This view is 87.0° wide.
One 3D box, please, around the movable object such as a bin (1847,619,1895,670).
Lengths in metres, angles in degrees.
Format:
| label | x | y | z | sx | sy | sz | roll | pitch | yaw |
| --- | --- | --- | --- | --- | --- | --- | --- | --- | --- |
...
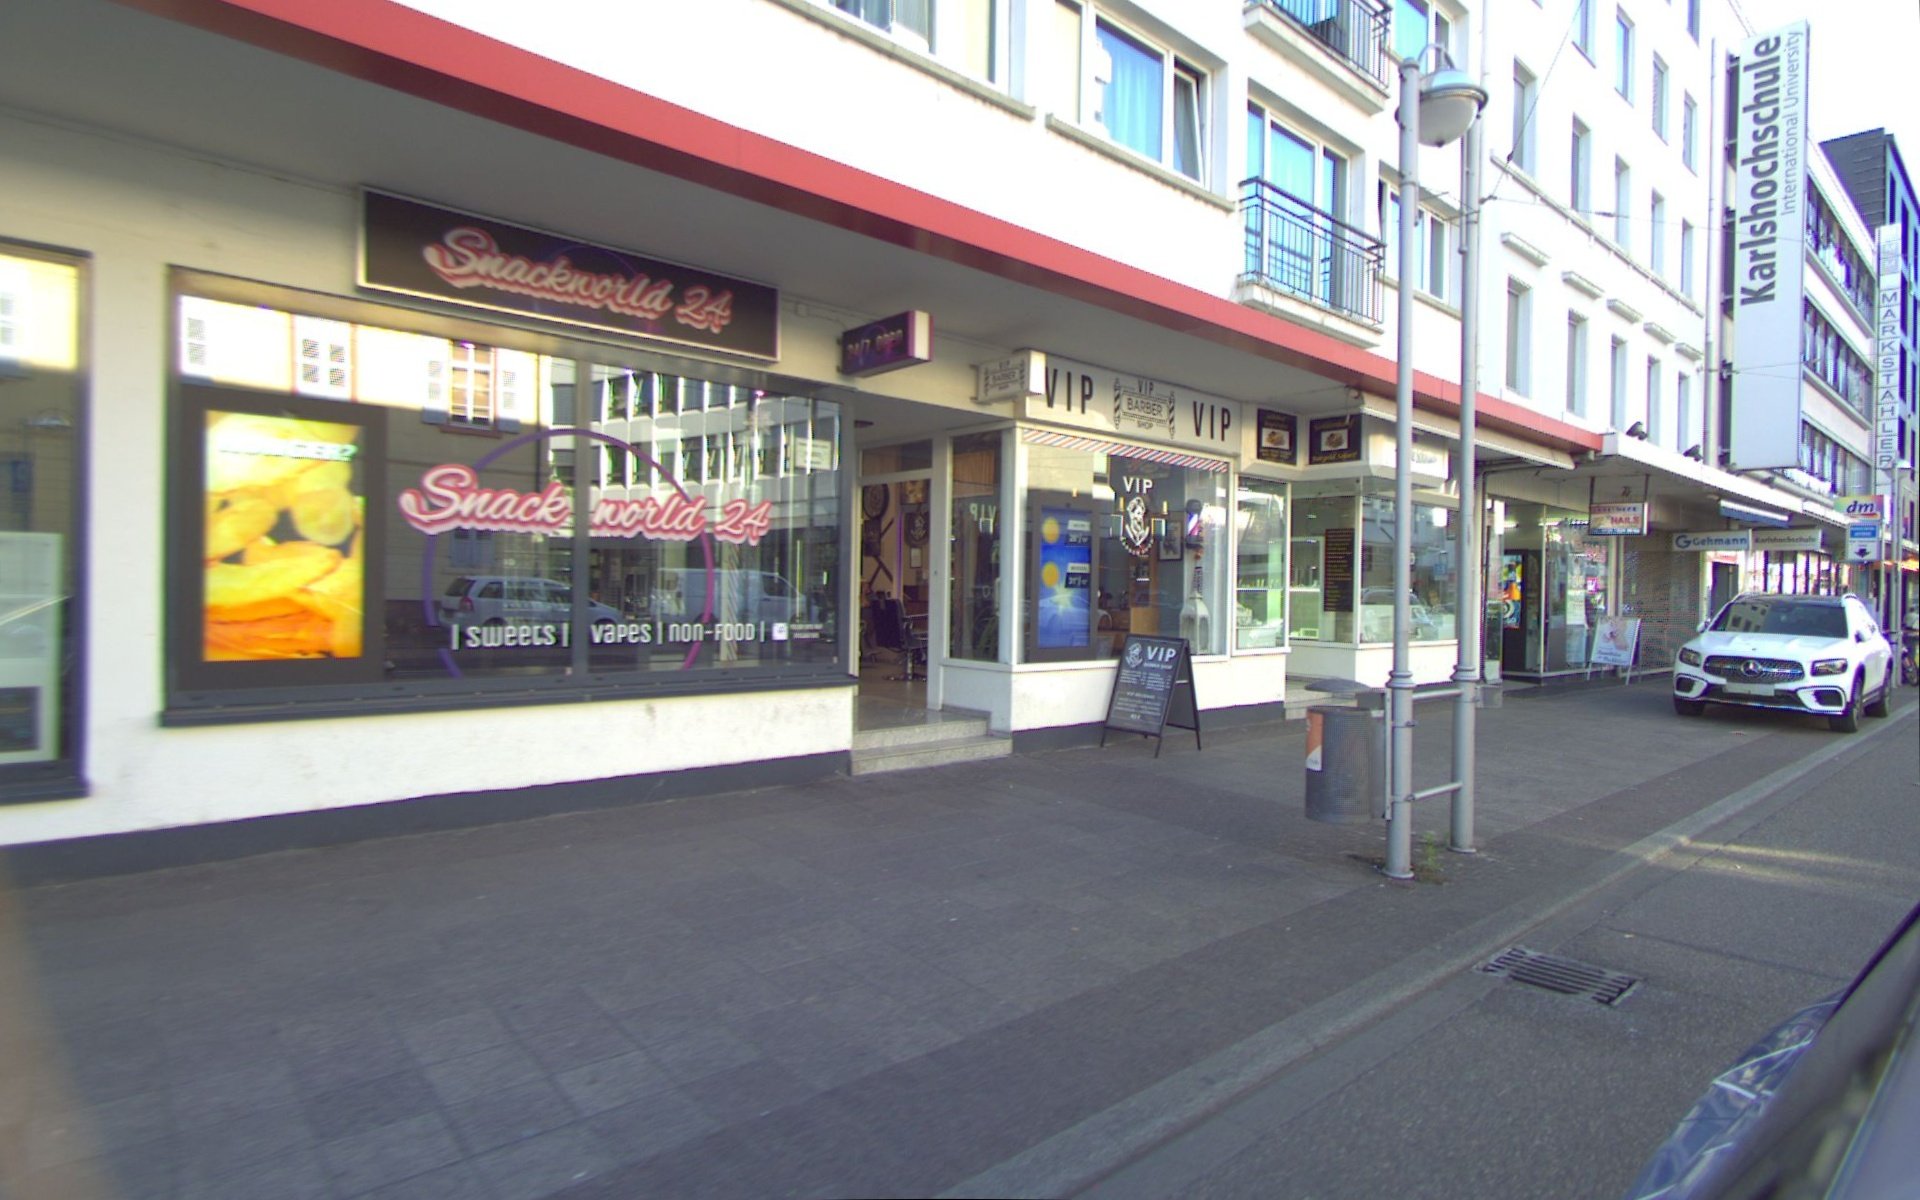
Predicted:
| label | x | y | z | sx | sy | sz | roll | pitch | yaw |
| --- | --- | --- | --- | --- | --- | --- | --- | --- | --- |
| movable object such as a bin | 19.447 | 0.932 | 21.607 | 0.625 | 1.027 | 0.659 | 0 | 1 | -38 |

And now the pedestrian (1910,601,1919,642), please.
| label | x | y | z | sx | sy | sz | roll | pitch | yaw |
| --- | --- | --- | --- | --- | --- | --- | --- | --- | --- |
| pedestrian | 38.562 | 0.872 | 40.557 | 0.588 | 1.605 | 0.582 | 0 | 3 | -43 |

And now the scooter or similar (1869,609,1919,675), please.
| label | x | y | z | sx | sy | sz | roll | pitch | yaw |
| --- | --- | --- | --- | --- | --- | --- | --- | --- | --- |
| scooter or similar | 18.818 | 0.831 | 20.150 | 0.314 | 1.247 | 0.994 | 0 | 2 | -42 |

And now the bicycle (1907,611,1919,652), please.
| label | x | y | z | sx | sy | sz | roll | pitch | yaw |
| --- | --- | --- | --- | --- | --- | --- | --- | --- | --- |
| bicycle | 28.723 | 0.944 | 29.340 | 0.657 | 1.174 | 1.790 | 1 | 1 | -41 |

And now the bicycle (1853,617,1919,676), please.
| label | x | y | z | sx | sy | sz | roll | pitch | yaw |
| --- | --- | --- | --- | --- | --- | --- | --- | --- | --- |
| bicycle | 18.471 | 0.910 | 20.029 | 0.314 | 1.093 | 1.133 | 0 | 2 | -42 |

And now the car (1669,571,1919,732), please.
| label | x | y | z | sx | sy | sz | roll | pitch | yaw |
| --- | --- | --- | --- | --- | --- | --- | --- | --- | --- |
| car | 11.411 | 0.543 | 13.668 | 5.103 | 1.745 | 1.853 | 0 | 3 | -42 |

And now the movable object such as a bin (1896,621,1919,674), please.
| label | x | y | z | sx | sy | sz | roll | pitch | yaw |
| --- | --- | --- | --- | --- | --- | --- | --- | --- | --- |
| movable object such as a bin | 19.362 | 0.953 | 20.470 | 0.659 | 1.027 | 0.523 | 0 | 1 | -38 |

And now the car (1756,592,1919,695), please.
| label | x | y | z | sx | sy | sz | roll | pitch | yaw |
| --- | --- | --- | --- | --- | --- | --- | --- | --- | --- |
| car | 15.341 | 0.660 | 17.626 | 4.000 | 1.547 | 1.617 | 0 | 2 | -42 |

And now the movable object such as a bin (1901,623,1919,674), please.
| label | x | y | z | sx | sy | sz | roll | pitch | yaw |
| --- | --- | --- | --- | --- | --- | --- | --- | --- | --- |
| movable object such as a bin | 19.907 | 1.000 | 20.833 | 0.499 | 1.027 | 0.688 | 0 | 1 | -38 |
